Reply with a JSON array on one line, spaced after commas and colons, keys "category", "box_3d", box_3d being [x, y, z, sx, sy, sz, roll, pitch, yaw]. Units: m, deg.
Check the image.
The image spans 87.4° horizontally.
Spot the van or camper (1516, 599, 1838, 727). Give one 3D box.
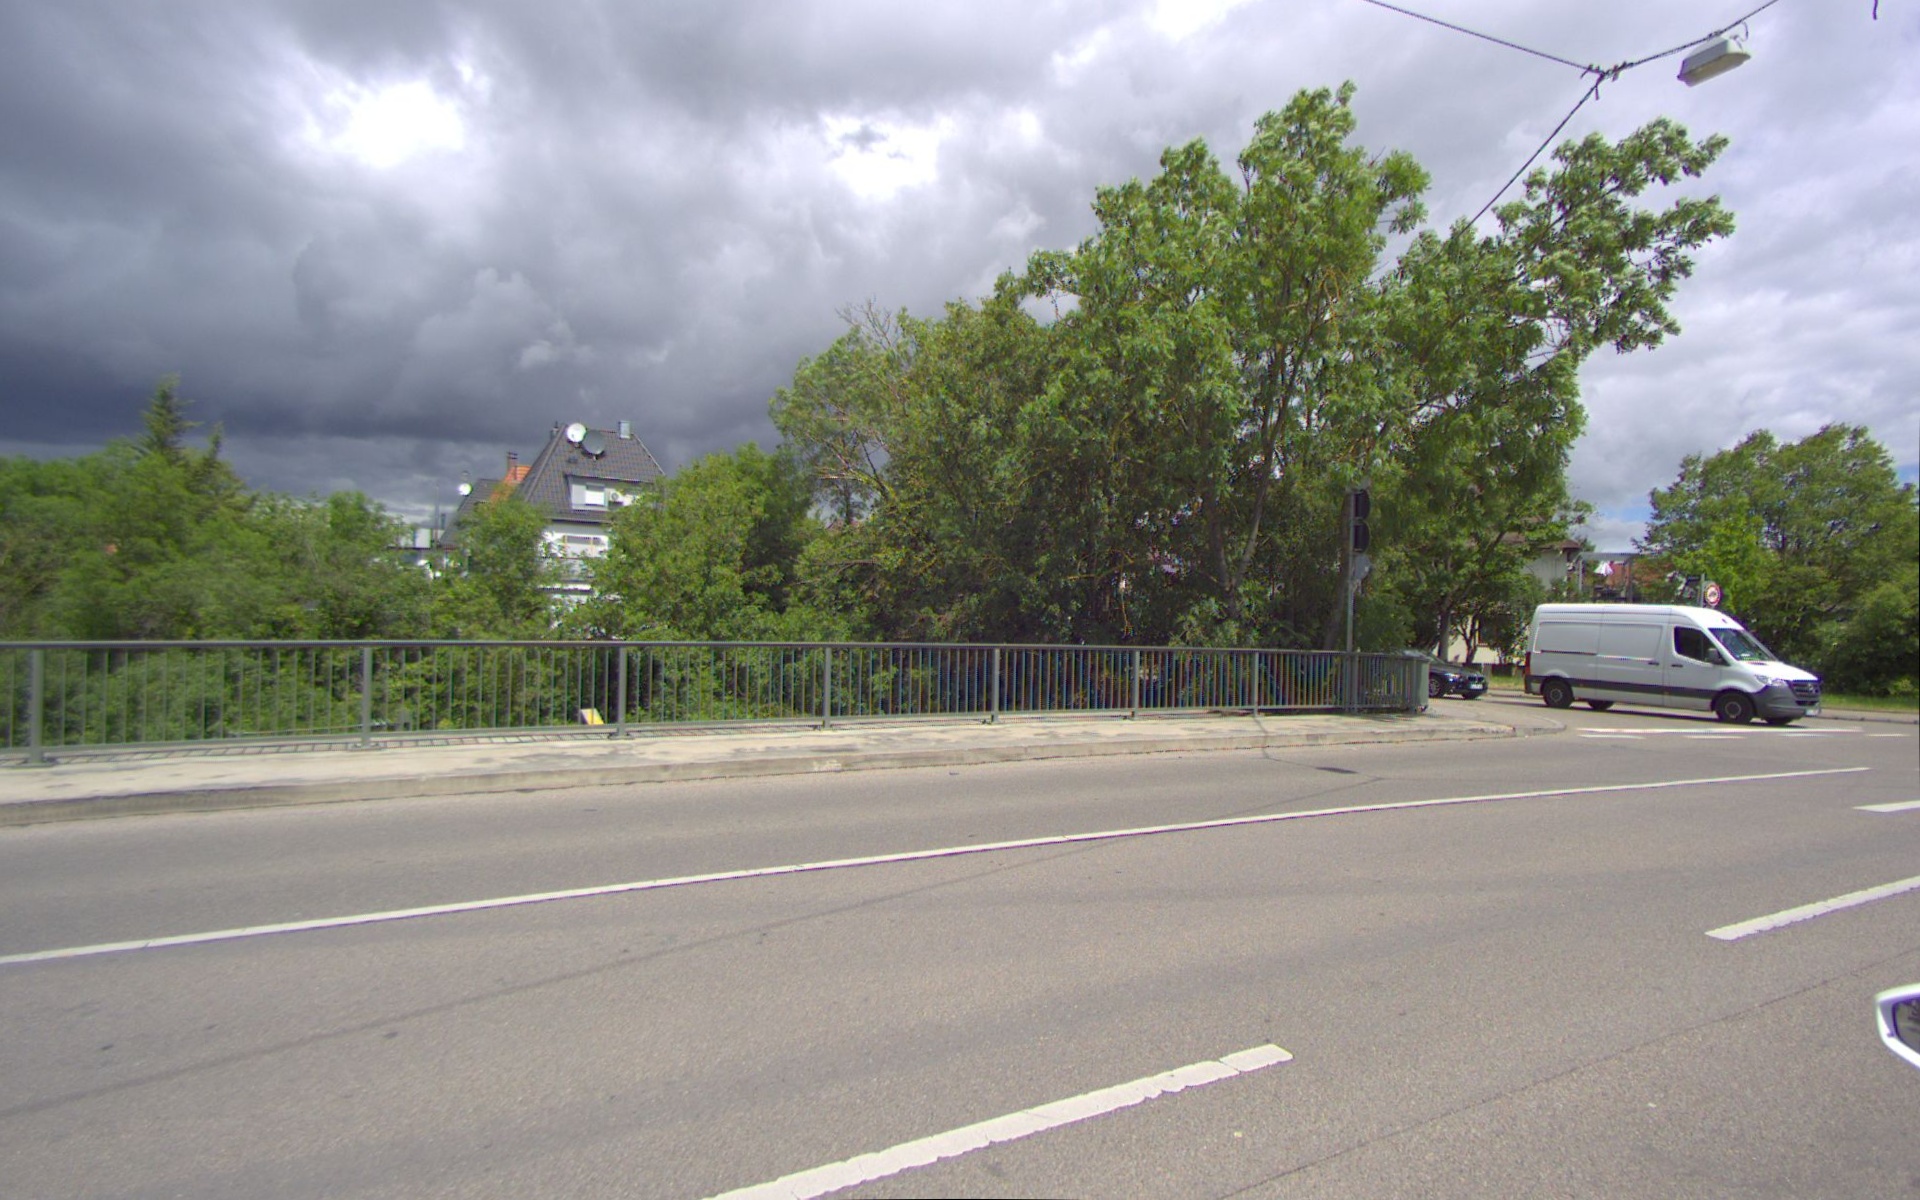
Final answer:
[{"category": "van or camper", "box_3d": [16.611, 1.425, 23.734, 2.166, 2.600, 5.888, 4, -3, -27]}]

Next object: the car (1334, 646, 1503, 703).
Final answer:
[{"category": "car", "box_3d": [13.346, 2.144, 29.504, 1.975, 1.493, 4.200, 3, -3, -28]}]
